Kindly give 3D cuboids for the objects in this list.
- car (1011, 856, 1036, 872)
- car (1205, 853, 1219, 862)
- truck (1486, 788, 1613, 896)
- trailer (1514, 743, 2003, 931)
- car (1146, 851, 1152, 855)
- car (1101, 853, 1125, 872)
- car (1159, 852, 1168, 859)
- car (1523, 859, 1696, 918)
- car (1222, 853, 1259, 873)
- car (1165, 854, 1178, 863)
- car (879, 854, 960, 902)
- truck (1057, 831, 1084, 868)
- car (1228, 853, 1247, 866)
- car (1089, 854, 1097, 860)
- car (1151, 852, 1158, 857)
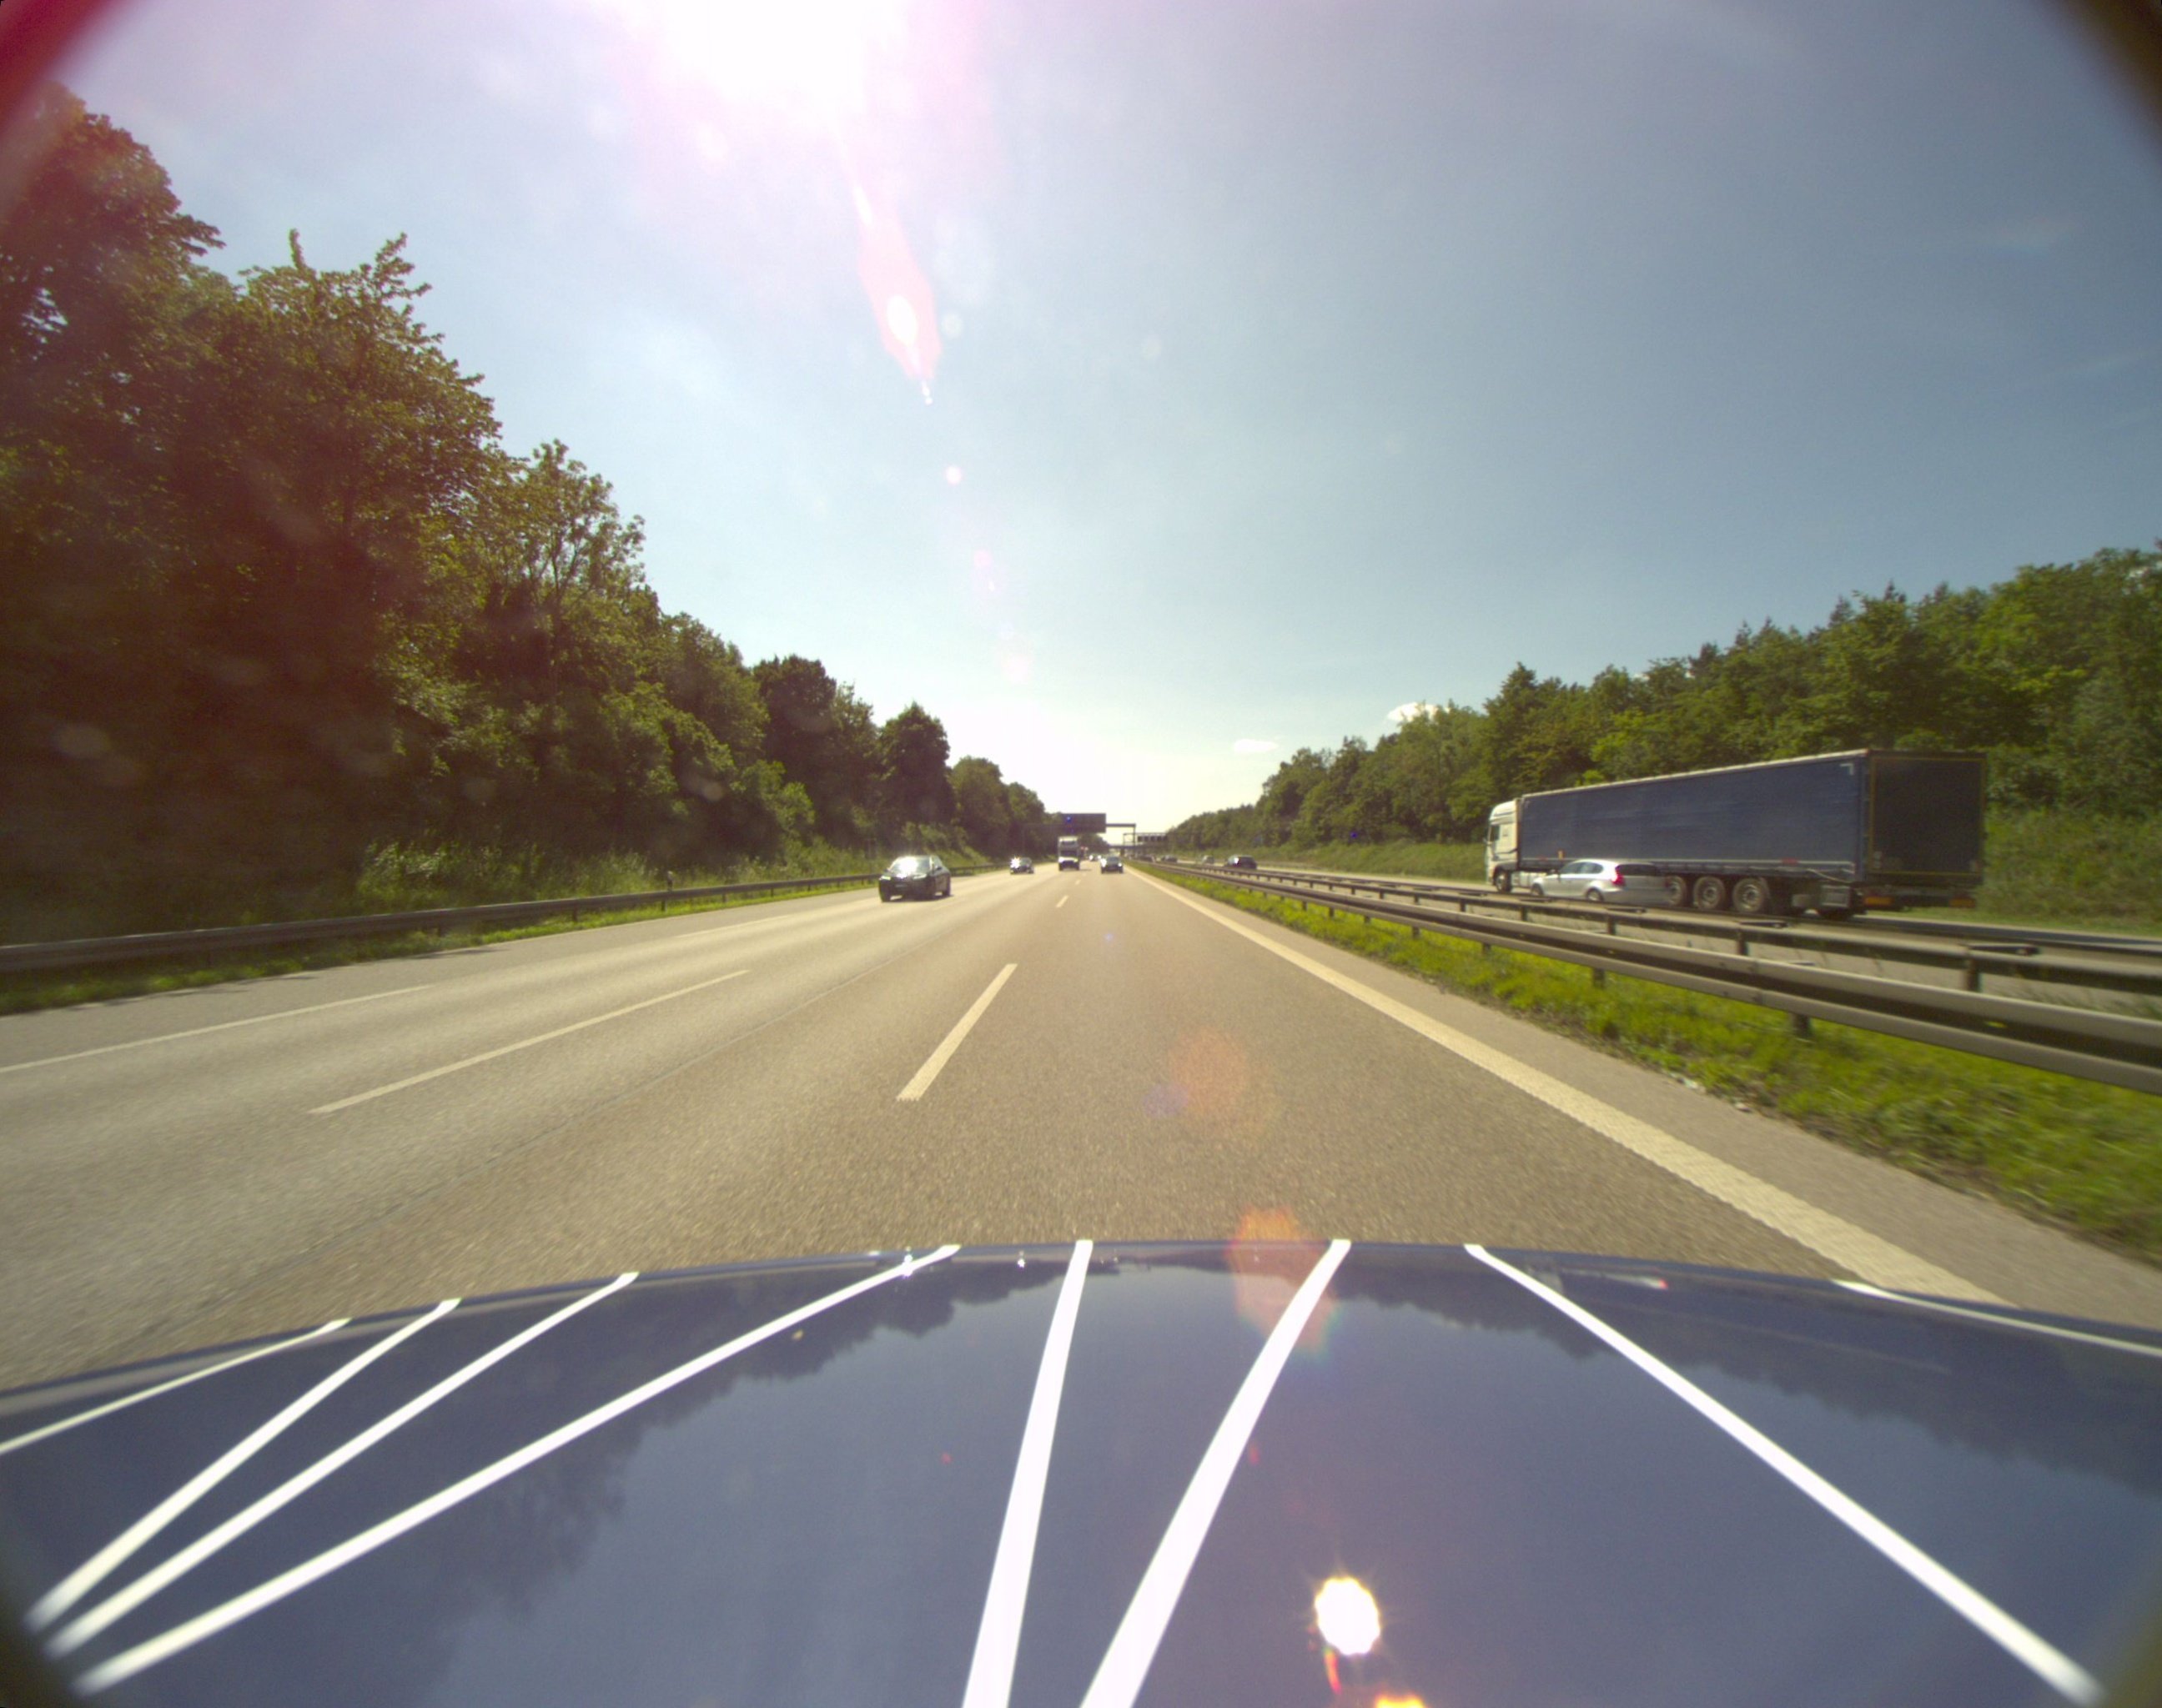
[{"bbox_3d":[-5.200,0.859,68.933,1.916,1.390,4.138,-1,0,1],"label":"car"},{"bbox_3d":[22.753,0.675,131.993,1.632,1.483,4.941,2,0,2],"label":"car"},{"bbox_3d":[18.904,-0.459,30.939,2.621,4.035,4.000,2,1,1],"label":"truck"},{"bbox_3d":[18.805,-0.403,23.645,2.621,4.035,14.168,2,0,1],"label":"trailer"},{"bbox_3d":[23.803,-0.243,265.693,1.599,1.434,3.542,2,0,1],"label":"car"},{"bbox_3d":[2.596,0.648,61.803,1.814,1.483,3.728,-1,0,1],"label":"car"},{"bbox_3d":[19.470,0.289,180.380,1.760,1.559,4.430,2,0,2],"label":"car"},{"bbox_3d":[14.339,0.862,20.987,1.717,1.410,4.504,0,0,1],"label":"car"},{"bbox_3d":[11.702,0.610,56.115,1.812,1.397,4.819,0,0,1],"label":"car"},{"bbox_3d":[13.695,0.662,115.111,1.489,1.348,4.417,0,0,1],"label":"car"},{"bbox_3d":[-6.206,0.882,29.840,1.924,1.659,4.687,-2,0,3],"label":"car"},{"bbox_3d":[-1.032,-0.437,79.328,2.676,3.661,6.483,-1,0,1],"label":"truck"},{"bbox_3d":[20.295,0.681,98.589,1.599,1.559,4.369,2,0,1],"label":"car"},{"bbox_3d":[2.660,0.777,173.485,1.831,1.346,3.679,0,0,1],"label":"car"},{"bbox_3d":[21.872,0.111,226.636,1.781,1.624,5.540,2,0,2],"label":"car"}]
